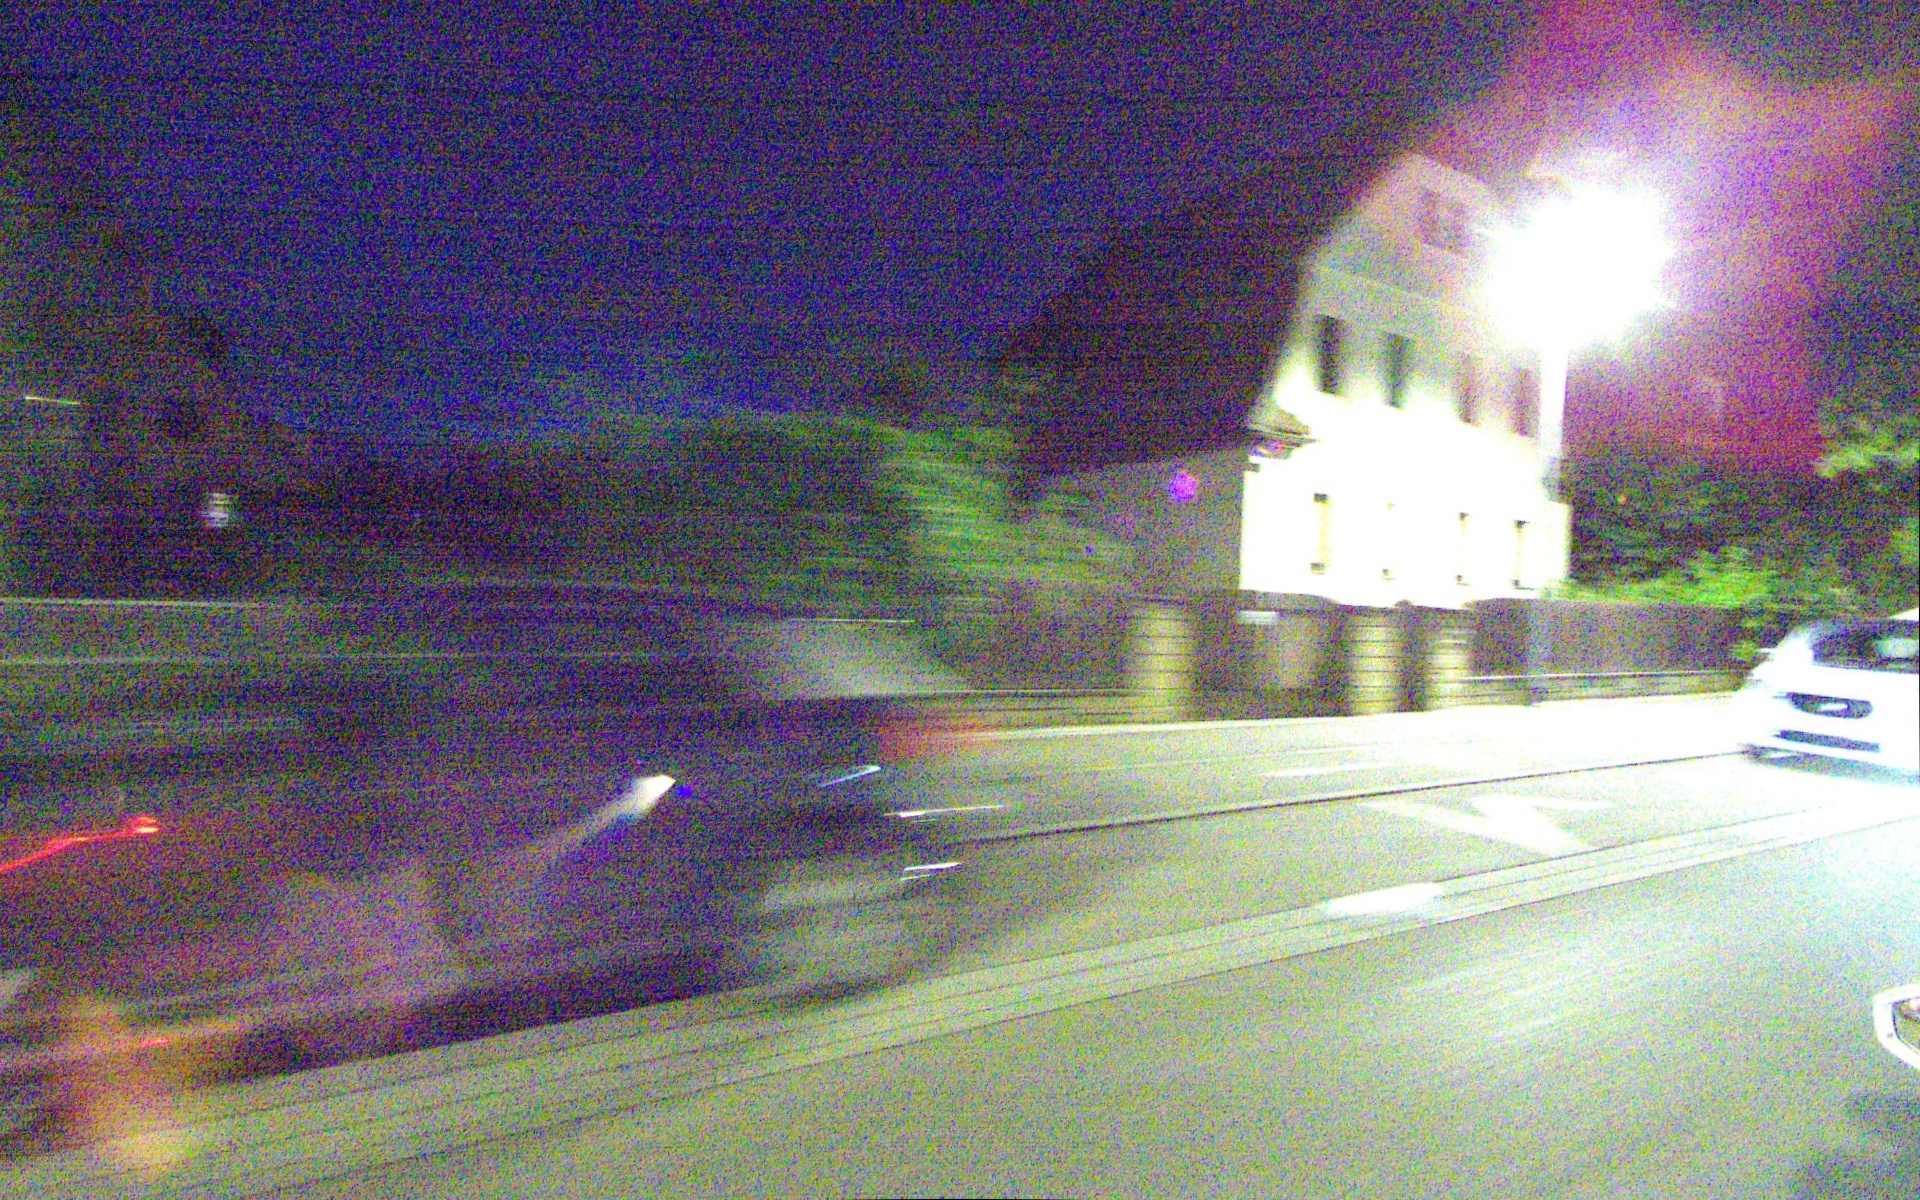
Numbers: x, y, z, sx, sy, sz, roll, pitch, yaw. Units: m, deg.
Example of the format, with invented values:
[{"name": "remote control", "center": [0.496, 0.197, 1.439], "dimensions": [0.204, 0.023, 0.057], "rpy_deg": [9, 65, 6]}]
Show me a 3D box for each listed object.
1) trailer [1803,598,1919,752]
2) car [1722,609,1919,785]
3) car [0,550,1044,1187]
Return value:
[{"name": "trailer", "center": [12.351, 0.905, 12.639], "dimensions": [3.383, 1.711, 1.442], "rpy_deg": [2, 2, -28]}, {"name": "car", "center": [9.784, 0.938, 10.689], "dimensions": [2.945, 1.542, 1.662], "rpy_deg": [1, 2, -32]}, {"name": "car", "center": [-1.942, 0.643, 3.650], "dimensions": [4.229, 1.539, 1.757], "rpy_deg": [1, 1, -31]}]
